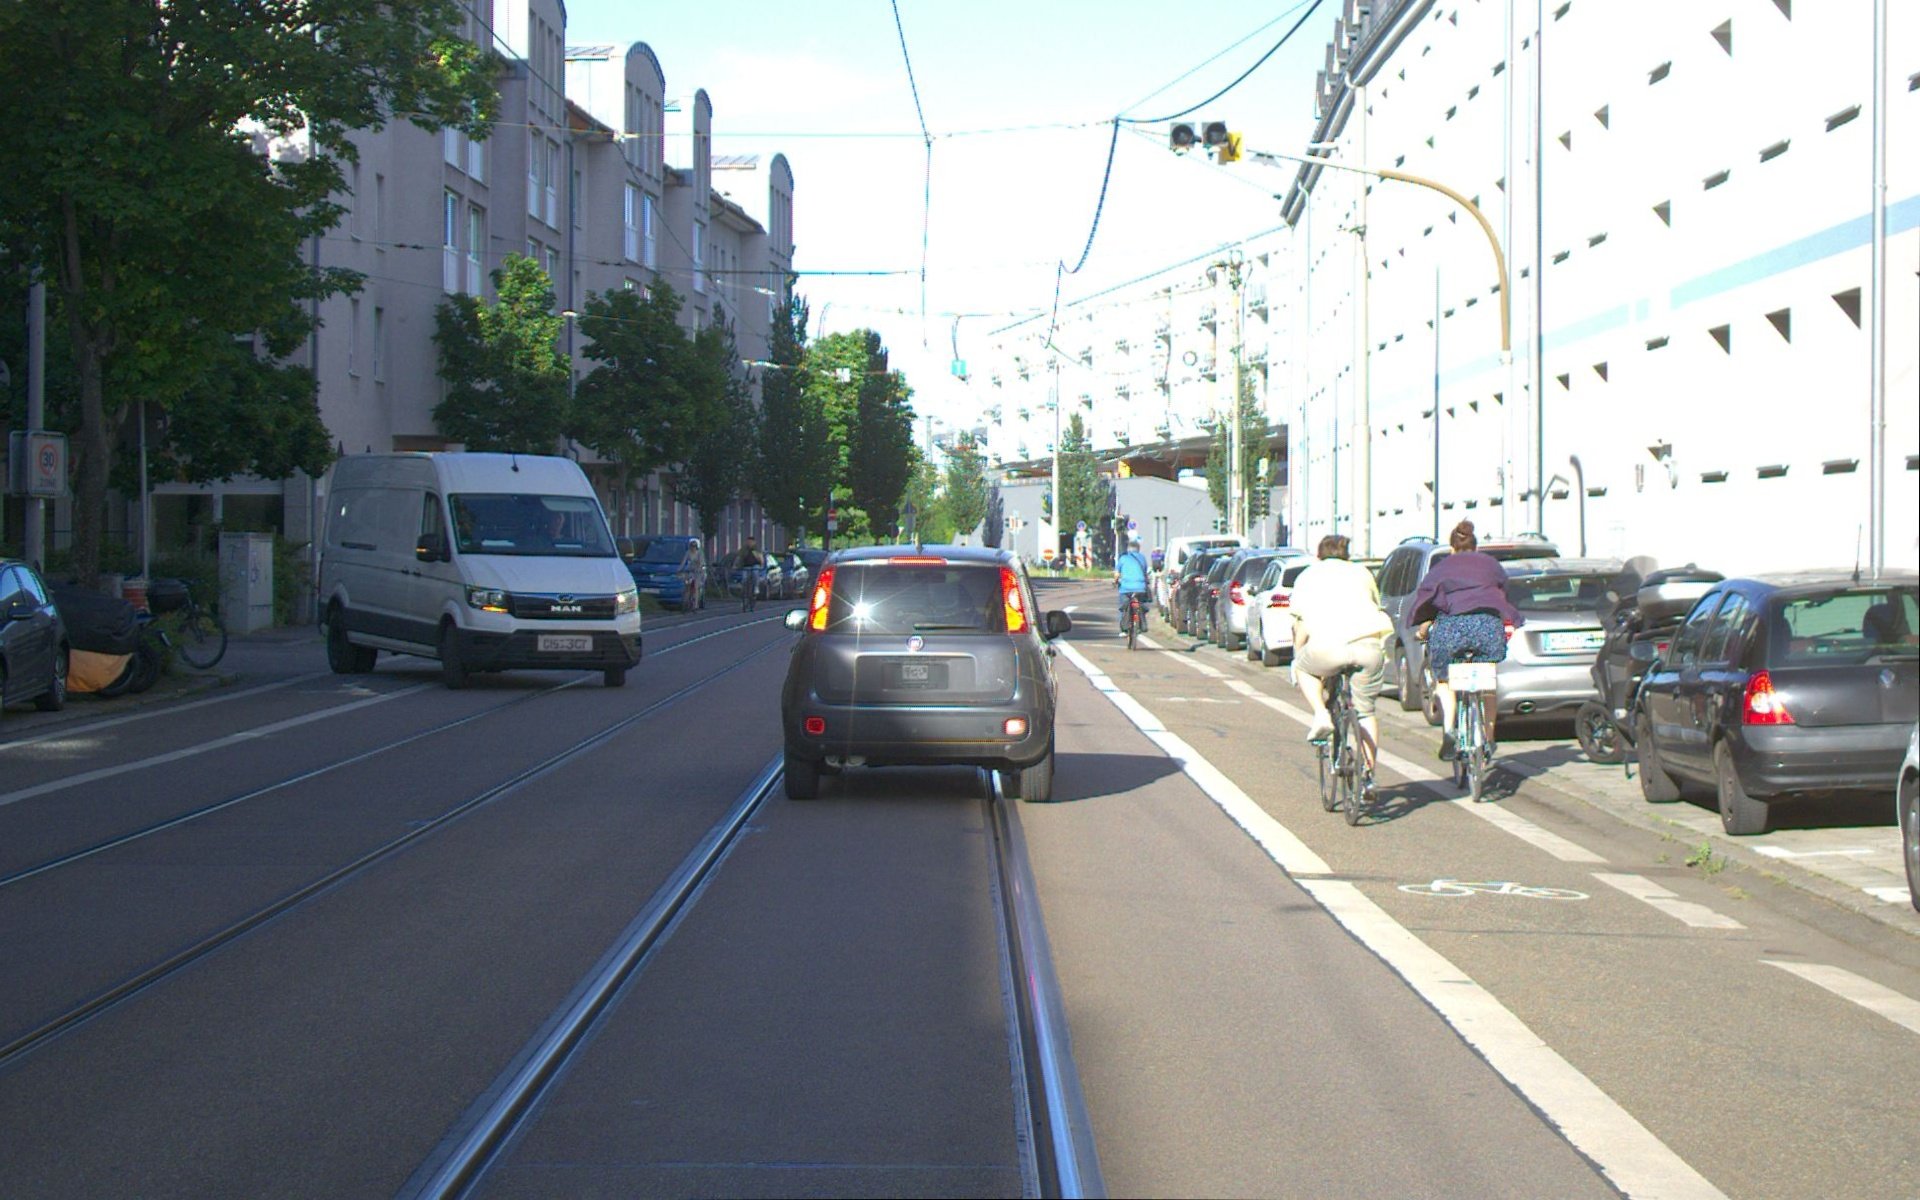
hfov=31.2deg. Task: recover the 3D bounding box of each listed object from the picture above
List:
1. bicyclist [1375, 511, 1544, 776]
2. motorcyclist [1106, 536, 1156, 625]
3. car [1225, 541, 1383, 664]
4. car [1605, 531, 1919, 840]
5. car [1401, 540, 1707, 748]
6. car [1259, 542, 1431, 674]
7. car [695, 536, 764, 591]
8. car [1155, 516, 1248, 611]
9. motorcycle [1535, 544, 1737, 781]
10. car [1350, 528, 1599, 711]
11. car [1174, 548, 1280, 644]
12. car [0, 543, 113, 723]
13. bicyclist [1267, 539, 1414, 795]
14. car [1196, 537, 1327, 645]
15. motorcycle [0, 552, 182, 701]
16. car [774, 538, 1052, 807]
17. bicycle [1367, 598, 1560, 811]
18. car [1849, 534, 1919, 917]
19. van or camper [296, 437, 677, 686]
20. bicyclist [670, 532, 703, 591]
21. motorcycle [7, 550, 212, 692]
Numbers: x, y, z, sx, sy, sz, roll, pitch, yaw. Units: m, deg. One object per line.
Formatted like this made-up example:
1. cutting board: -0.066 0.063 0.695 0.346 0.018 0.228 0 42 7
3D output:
1. bicyclist: 3.221 0.267 22.257 0.934 1.670 0.969 0 1 -1
2. motorcyclist: 2.720 -0.317 54.651 0.727 1.401 1.021 0 1 -1
3. car: 4.670 -0.008 47.185 1.679 1.565 4.510 -1 1 0
4. car: 4.846 0.407 19.754 1.609 1.565 3.904 -1 1 1
5. car: 4.846 0.299 28.634 1.864 1.549 4.366 -1 1 1
6. car: 4.745 0.058 42.856 1.513 1.426 4.202 -6 1 0
7. car: -6.882 -1.099 103.138 1.665 1.612 4.000 0 1 2
8. car: 5.246 -0.810 75.085 1.786 1.964 4.154 -1 1 1
9. motorcycle: 4.562 0.381 23.409 0.805 1.516 2.709 0 1 -1
10. car: 5.048 0.135 34.291 1.755 1.660 4.626 -1 1 0
11. car: 4.590 -0.094 59.424 1.591 1.532 4.007 -2 1 2
12. car: -9.050 0.256 30.992 1.735 1.537 4.129 0 1 1
13. bicyclist: 2.210 0.374 20.090 0.727 1.457 1.021 0 1 -1
14. car: 4.770 -0.169 54.799 1.754 1.565 3.904 -3 1 2
15. motorcycle: -8.727 0.253 33.944 1.968 1.442 0.836 0 1 -7
16. car: -0.221 0.383 21.399 1.557 1.527 3.486 0 1 2
17. bicycle: 3.223 0.638 22.246 0.821 1.232 2.462 2 1 -1
18. car: 4.835 0.514 13.130 1.800 1.565 3.904 -1 1 -1
19. van or camper: -5.495 -0.462 38.838 2.369 2.544 6.836 0 1 -25
20. bicyclist: -6.633 -0.942 83.438 0.623 1.376 0.868 -4 1 0
21. motorcycle: -8.719 0.208 35.321 1.968 1.442 0.721 0 1 -7
